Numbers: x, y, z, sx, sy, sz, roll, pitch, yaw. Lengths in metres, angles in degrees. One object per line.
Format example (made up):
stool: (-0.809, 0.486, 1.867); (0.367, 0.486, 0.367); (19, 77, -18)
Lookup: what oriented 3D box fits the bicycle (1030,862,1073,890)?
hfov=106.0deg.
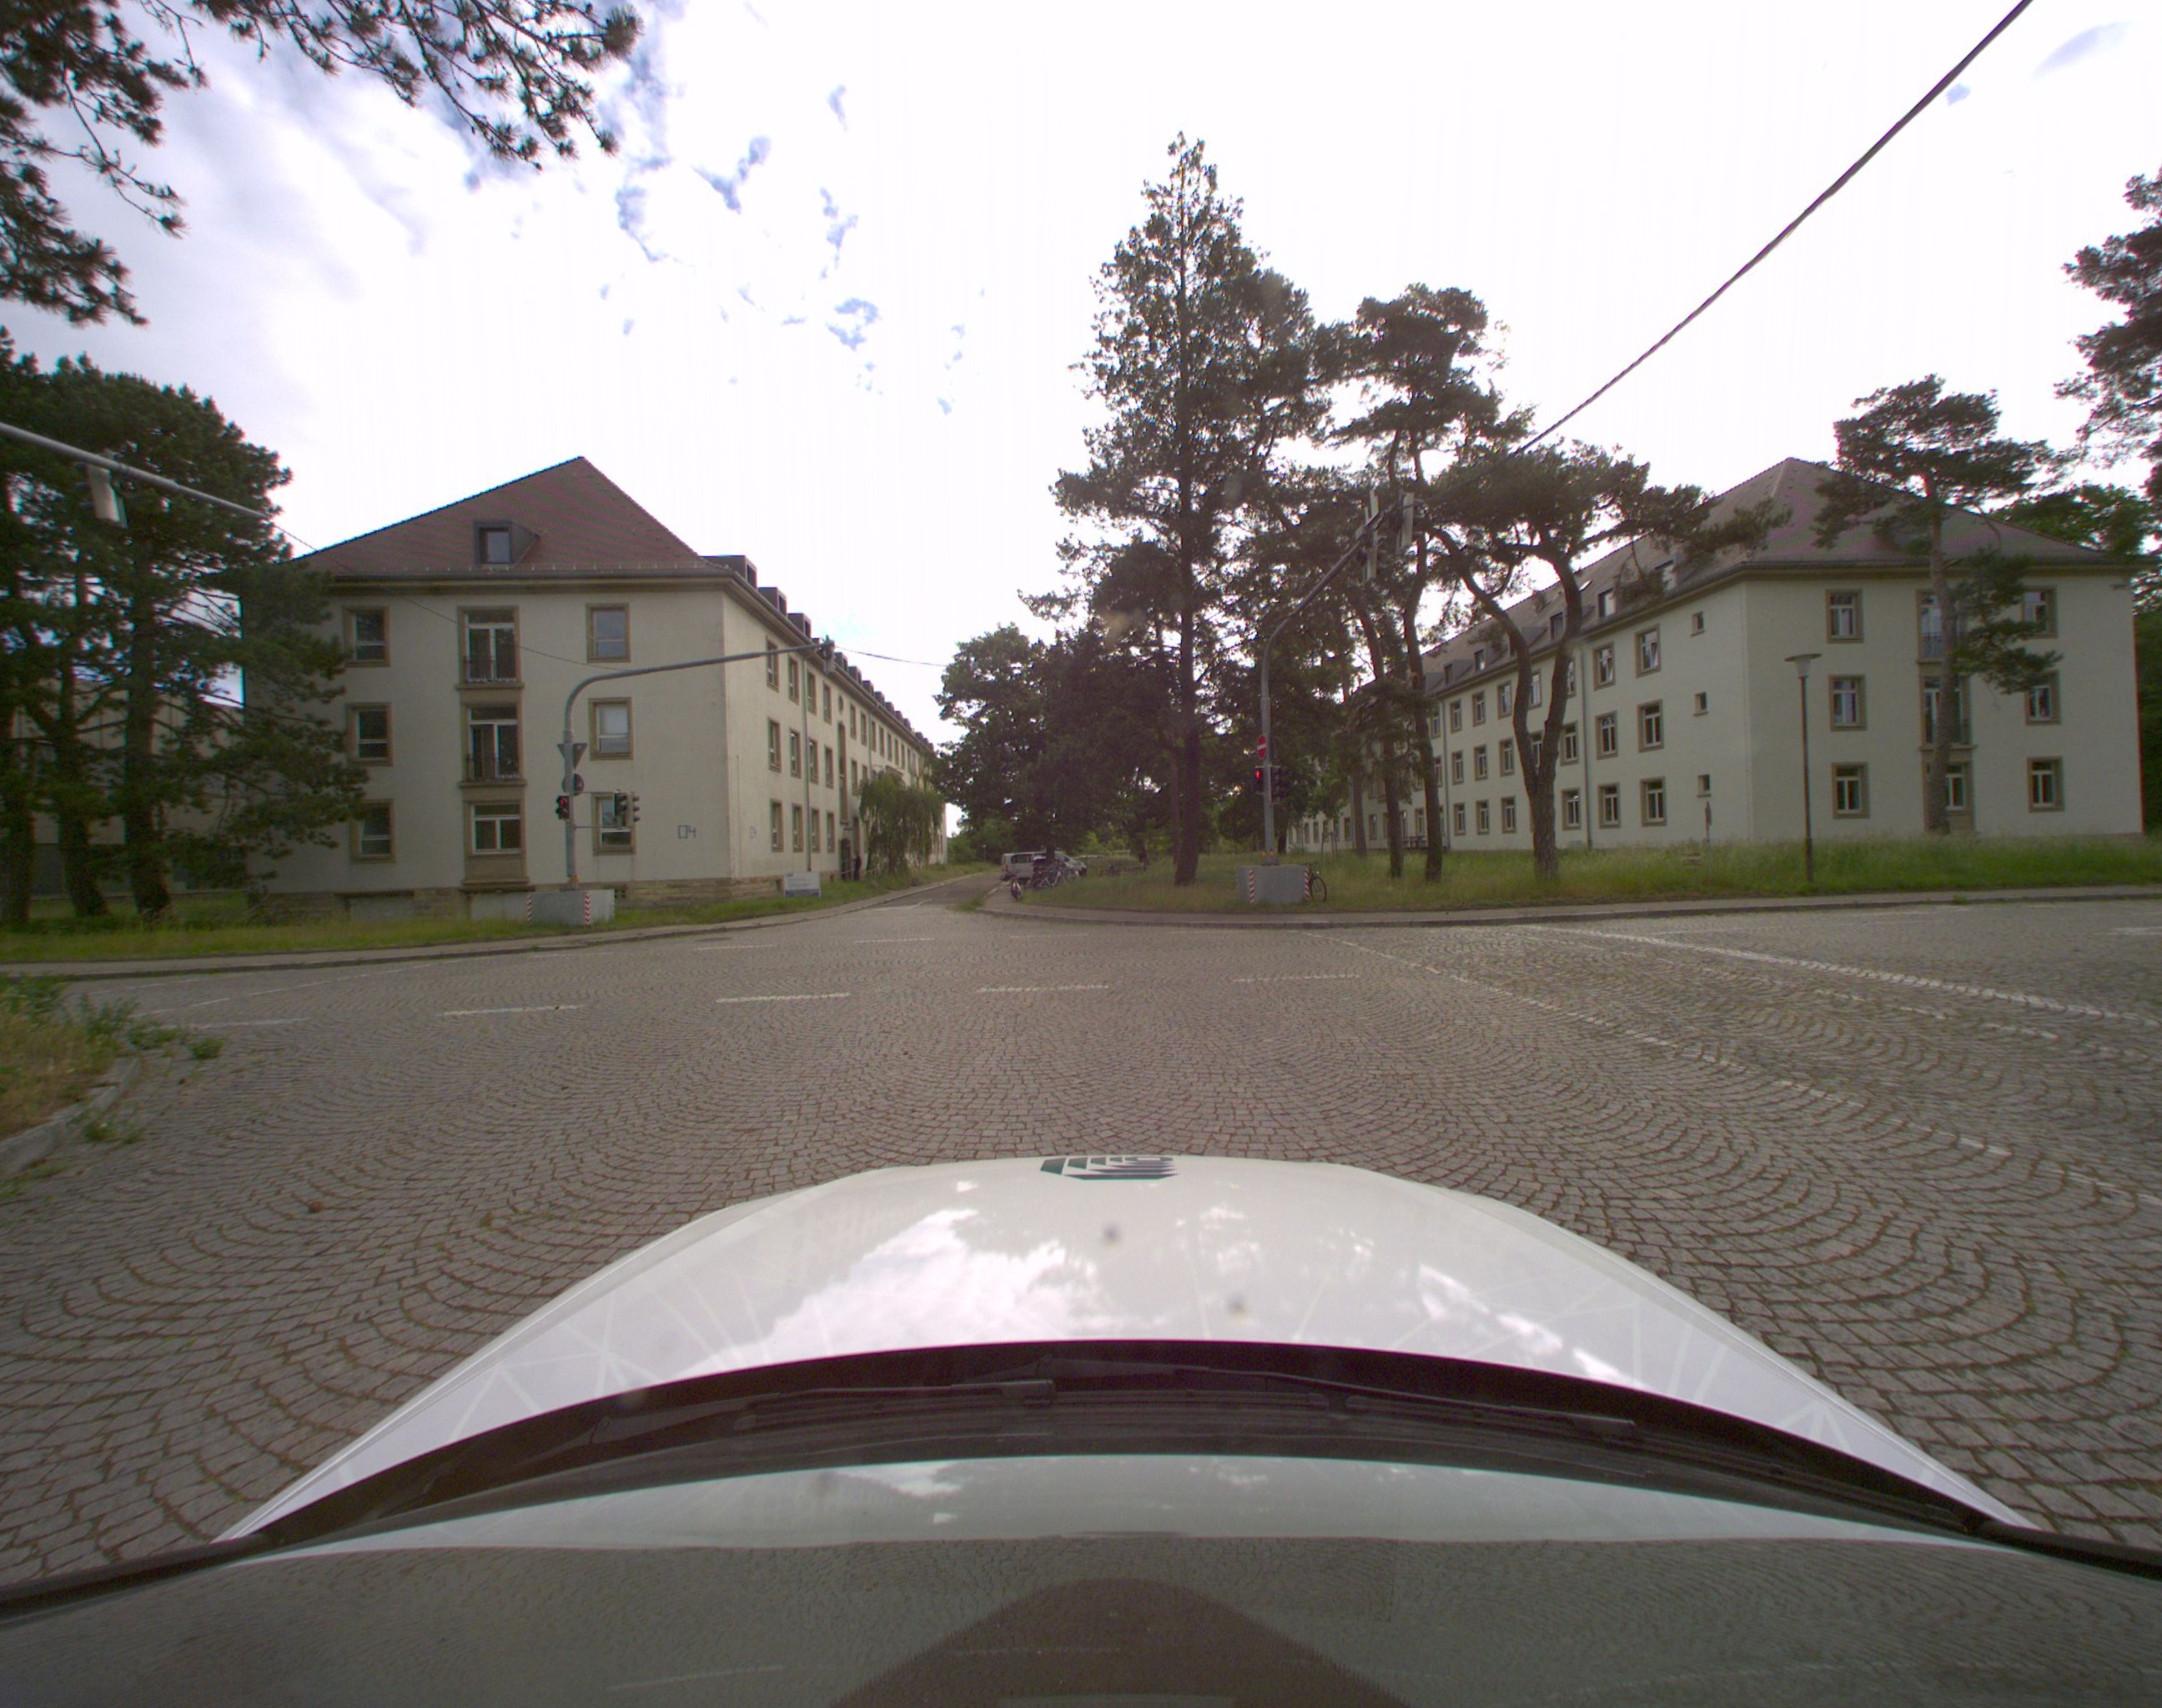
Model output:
bicycle: (-1.372, 1.010, 37.571); (1.979, 1.248, 0.623); (-1, -1, -5)

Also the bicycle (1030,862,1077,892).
bicycle: (-1.203, 0.988, 35.494); (1.979, 1.248, 0.623); (-1, -1, -5)

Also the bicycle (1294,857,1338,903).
bicycle: (5.714, 0.612, 19.876); (0.578, 0.970, 1.678); (-4, 2, 1)

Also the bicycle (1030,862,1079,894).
bicycle: (-1.114, 0.969, 33.481); (1.979, 1.248, 0.623); (-1, -1, -5)

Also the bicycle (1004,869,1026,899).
bicycle: (-2.443, 1.111, 30.428); (0.620, 1.082, 1.678); (-1, -1, 1)

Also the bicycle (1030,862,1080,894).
bicycle: (-1.050, 0.959, 32.558); (1.979, 1.248, 0.623); (-1, -1, -5)

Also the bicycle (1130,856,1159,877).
bicycle: (3.580, 0.695, 45.755); (1.544, 1.124, 0.401); (-2, -1, -2)

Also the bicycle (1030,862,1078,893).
bicycle: (-1.162, 0.977, 34.338); (1.979, 1.248, 0.623); (-1, -1, -5)

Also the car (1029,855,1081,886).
car: (-1.484, 0.930, 46.537); (2.841, 1.558, 1.470); (-3, 1, -4)

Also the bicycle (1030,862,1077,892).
bicycle: (-1.190, 0.983, 34.970); (1.979, 1.248, 0.623); (-1, -1, -5)

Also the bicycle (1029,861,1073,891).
bicycle: (-1.409, 1.017, 38.229); (1.979, 1.248, 0.623); (-4, -1, -5)

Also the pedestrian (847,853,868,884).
pedestrian: (-12.951, 0.843, 47.197); (0.834, 1.781, 0.942); (-2, 0, 3)

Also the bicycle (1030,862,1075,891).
bicycle: (-1.279, 0.999, 36.569); (1.979, 1.248, 0.623); (-1, -1, -5)

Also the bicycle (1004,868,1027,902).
bicycle: (-2.271, 1.075, 28.482); (0.620, 1.113, 1.989); (-1, -1, 0)

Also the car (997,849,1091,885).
car: (-2.278, 0.796, 49.972); (5.318, 1.916, 2.137); (-3, 0, -18)

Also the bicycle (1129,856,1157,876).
bicycle: (3.590, 0.703, 46.987); (1.544, 1.124, 0.401); (-2, -1, -2)

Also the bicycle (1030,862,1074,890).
bicycle: (-1.329, 1.005, 37.080); (1.979, 1.248, 0.623); (-1, -1, -5)

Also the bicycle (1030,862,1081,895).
bicycle: (-1.015, 0.953, 31.930); (1.979, 1.248, 0.623); (-1, -1, -5)
